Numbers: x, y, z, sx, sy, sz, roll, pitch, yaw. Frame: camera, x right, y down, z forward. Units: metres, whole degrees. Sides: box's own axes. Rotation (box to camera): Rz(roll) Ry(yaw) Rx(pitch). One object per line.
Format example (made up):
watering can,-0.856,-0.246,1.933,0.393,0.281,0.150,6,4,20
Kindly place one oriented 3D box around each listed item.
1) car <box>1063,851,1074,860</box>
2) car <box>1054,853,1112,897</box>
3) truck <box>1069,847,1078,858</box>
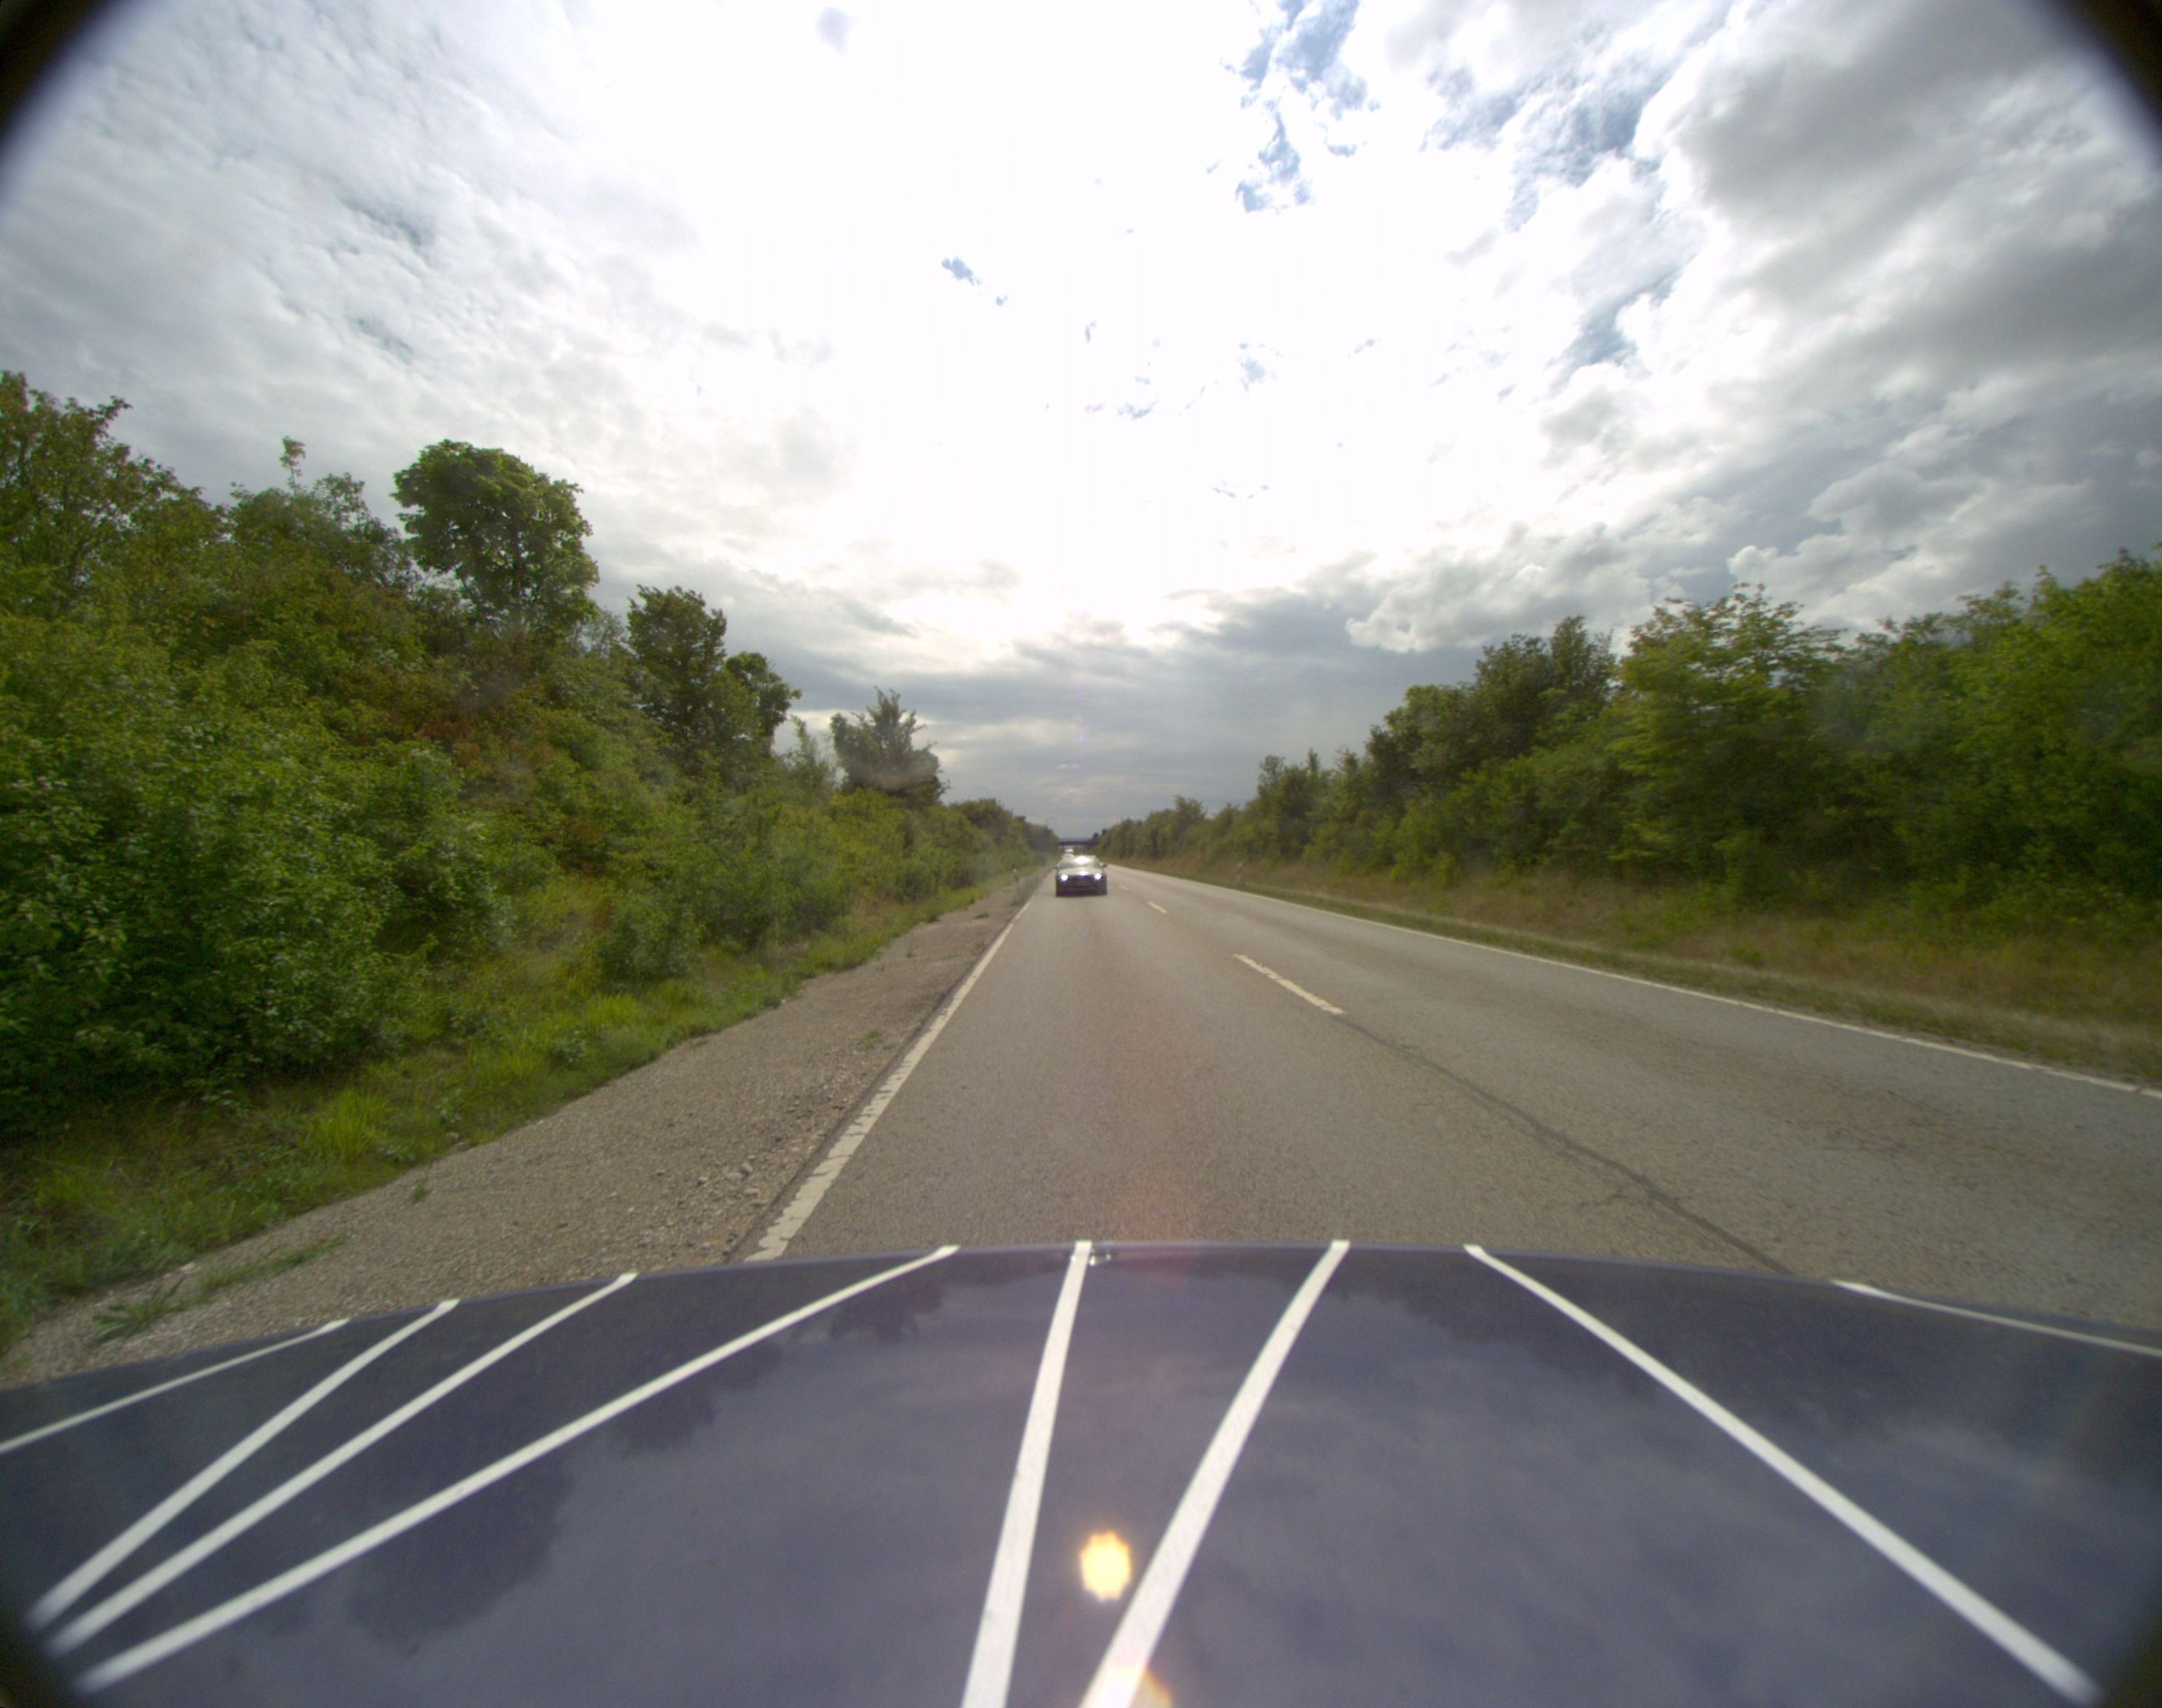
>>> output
car,-2.179,0.266,131.727,1.870,1.597,3.999,-2,0,-1
car,0.024,0.734,29.171,1.999,1.436,4.640,-2,0,-1
truck,-1.691,-0.345,170.012,1.802,2.518,6.684,-2,1,-1
